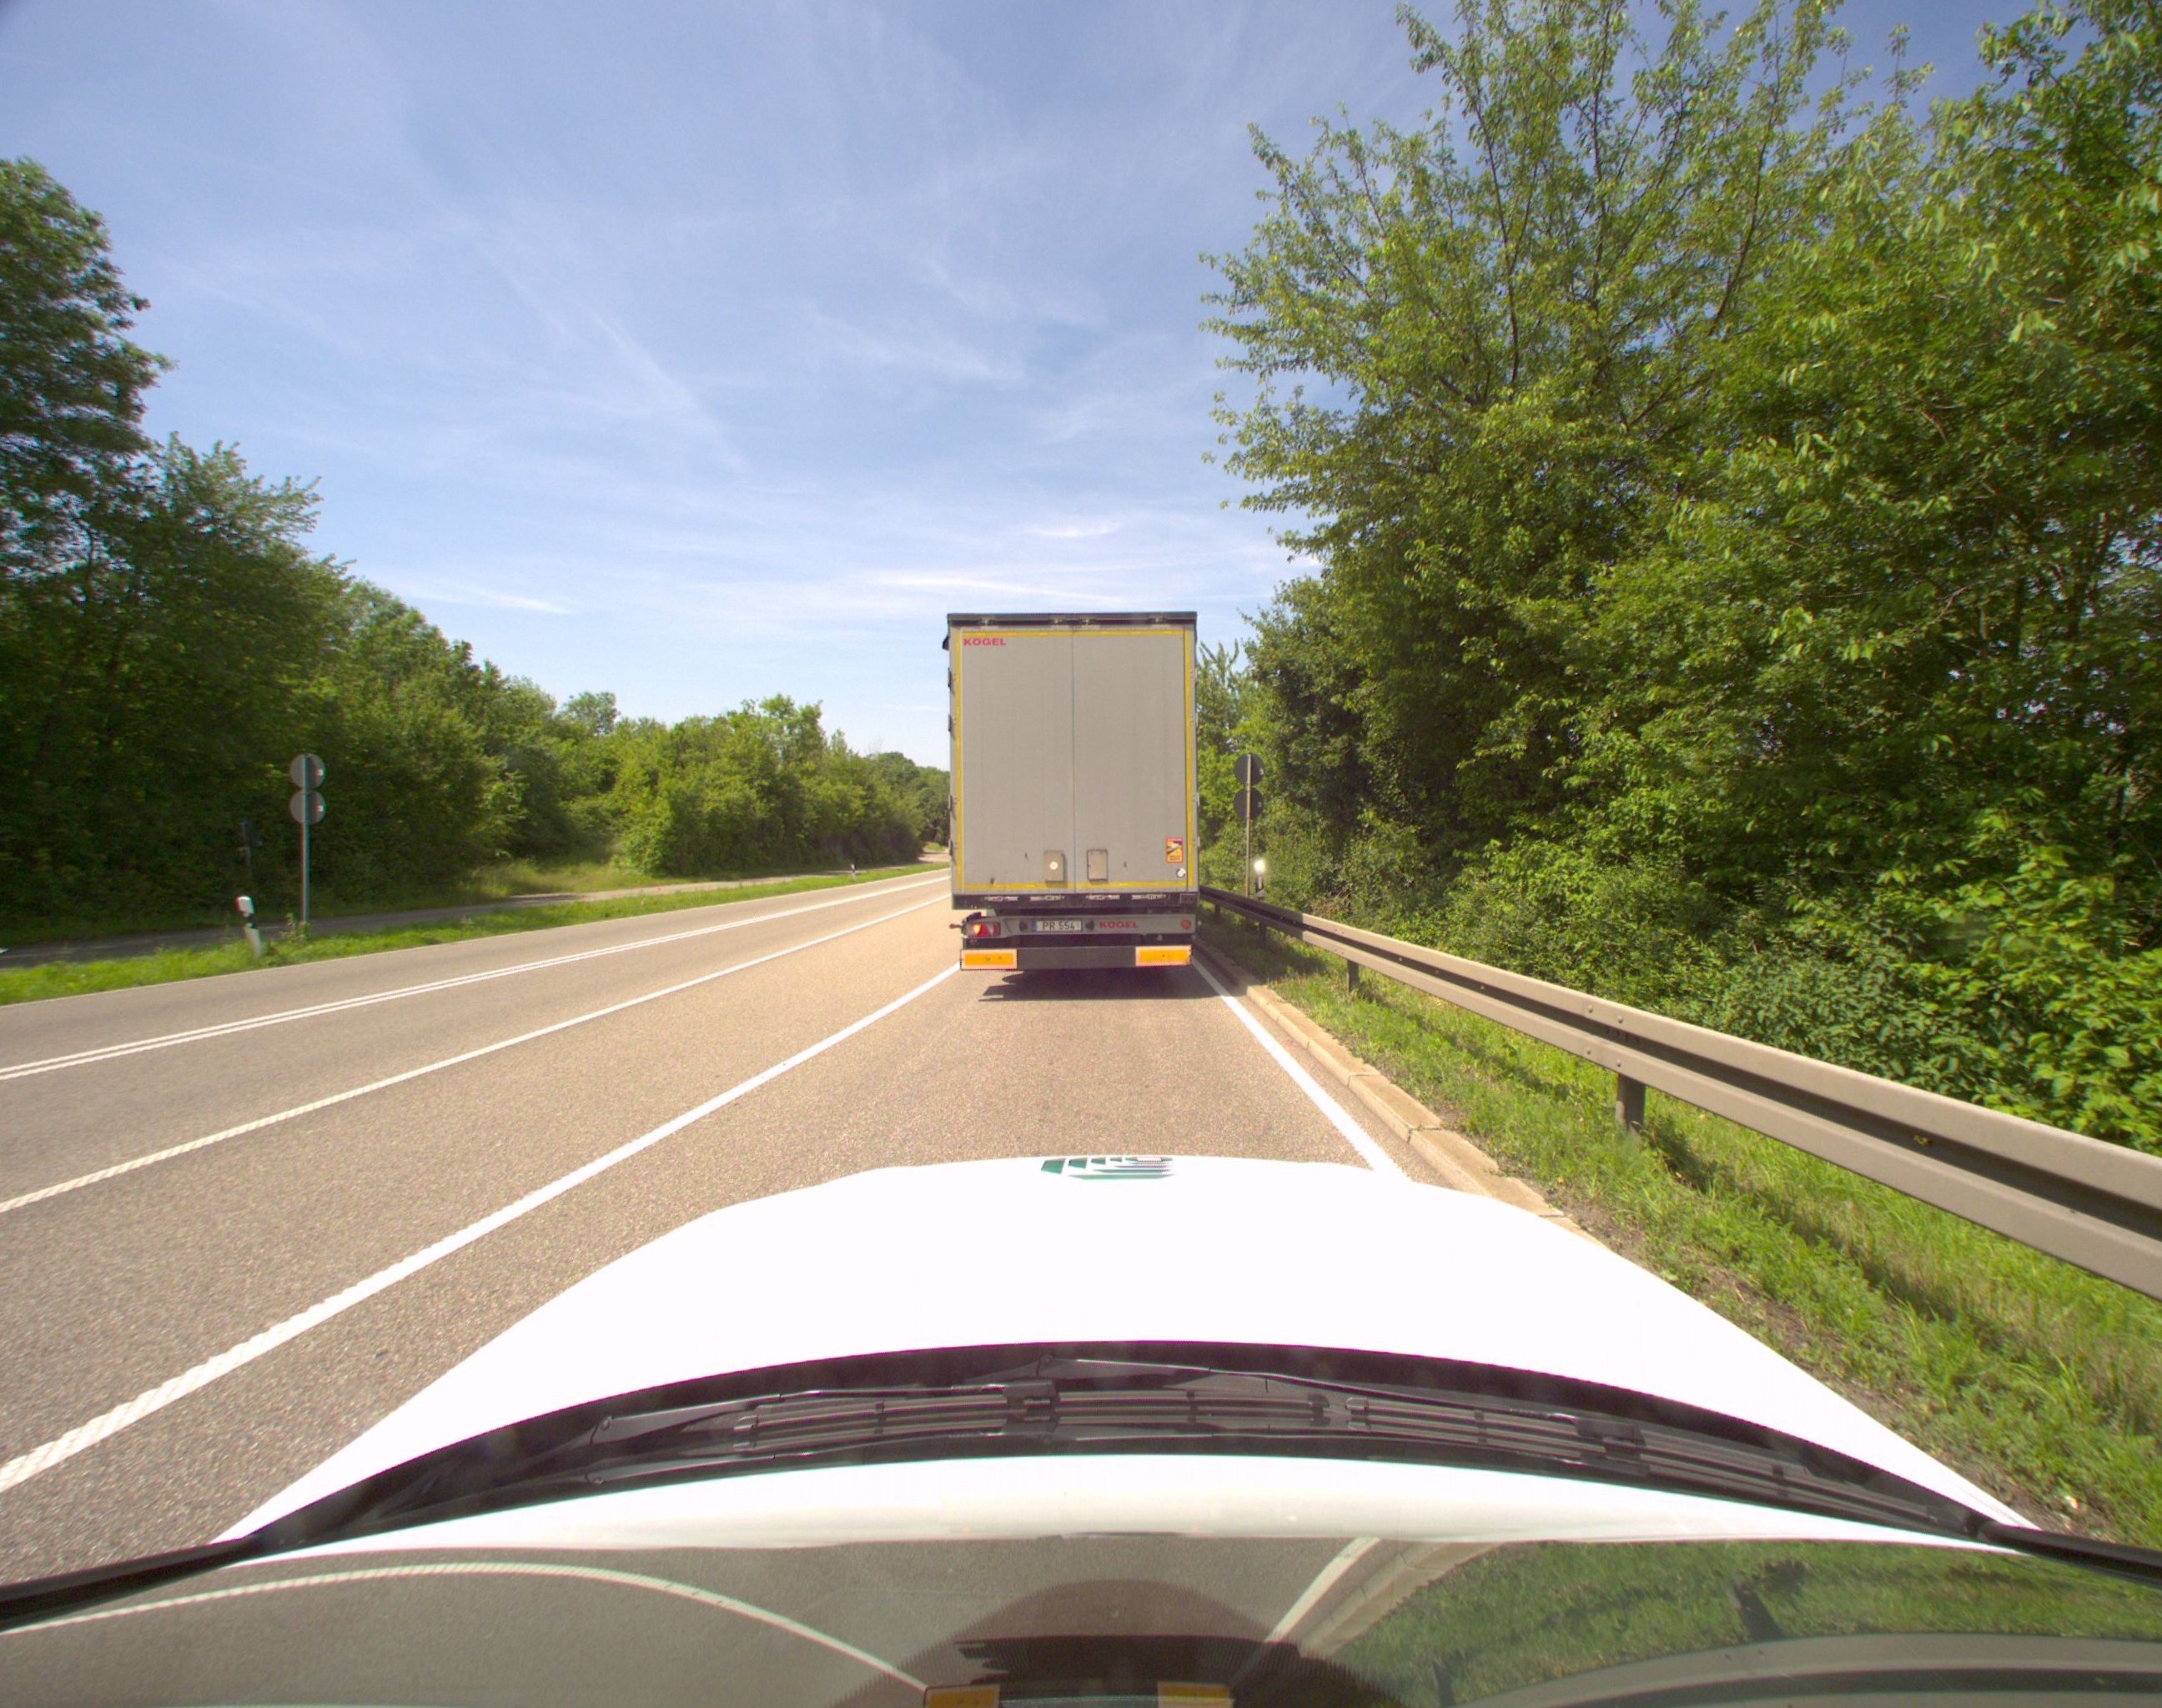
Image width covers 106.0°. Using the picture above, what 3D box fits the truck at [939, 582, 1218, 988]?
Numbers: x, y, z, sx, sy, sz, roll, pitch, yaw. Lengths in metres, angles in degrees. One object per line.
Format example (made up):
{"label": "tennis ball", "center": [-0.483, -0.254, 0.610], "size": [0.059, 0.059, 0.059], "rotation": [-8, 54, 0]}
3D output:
{"label": "truck", "center": [0.094, -0.706, 14.125], "size": [2.747, 4.029, 11.926], "rotation": [-1, 0, 1]}
